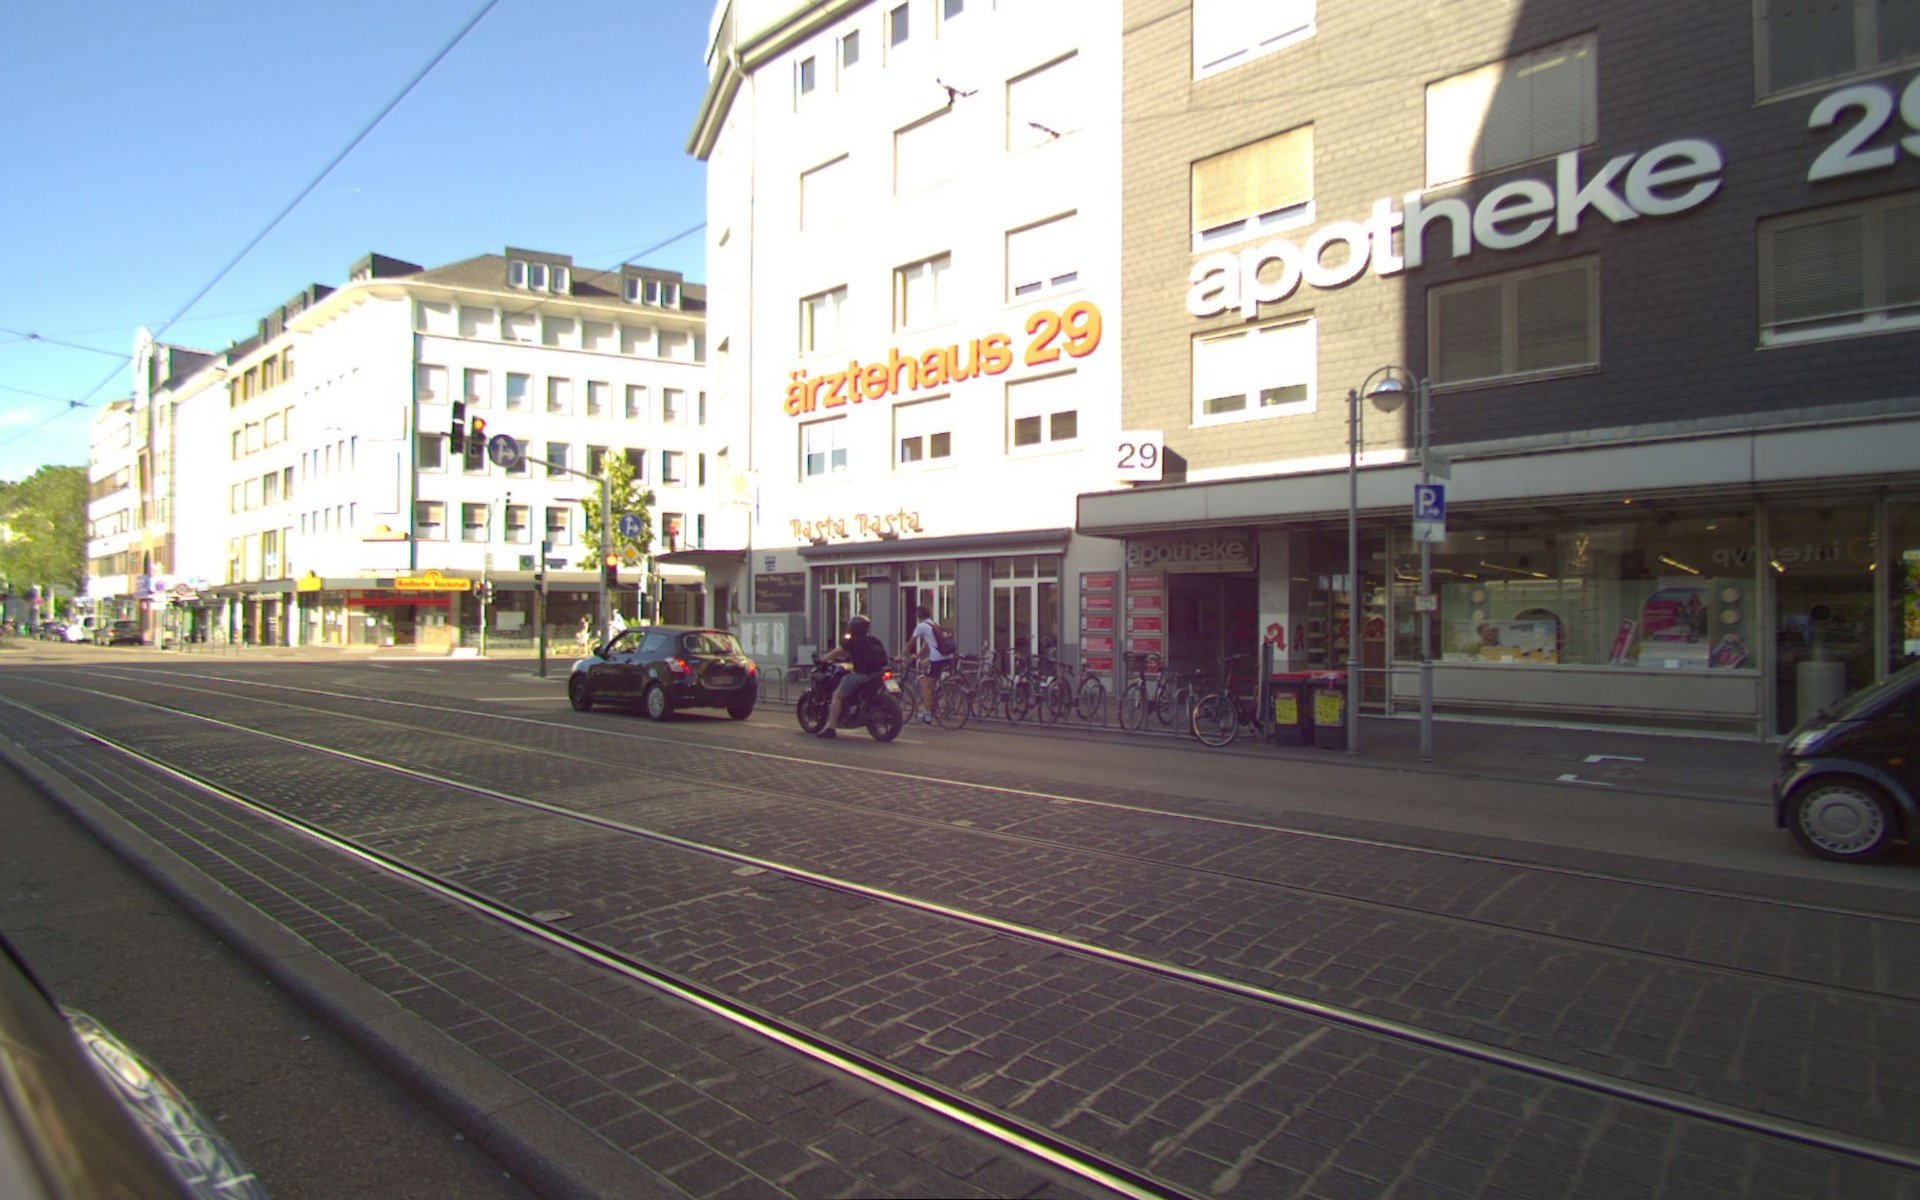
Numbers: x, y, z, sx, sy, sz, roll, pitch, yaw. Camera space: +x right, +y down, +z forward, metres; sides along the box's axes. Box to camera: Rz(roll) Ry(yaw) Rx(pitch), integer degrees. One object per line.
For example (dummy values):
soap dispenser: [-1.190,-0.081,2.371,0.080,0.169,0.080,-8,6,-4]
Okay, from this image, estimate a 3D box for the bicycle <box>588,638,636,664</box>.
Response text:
bicycle: [-14.186,2.090,41.282,1.697,1.015,0.762,1,-5,-36]

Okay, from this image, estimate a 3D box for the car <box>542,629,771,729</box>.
car: [-5.095,1.243,16.718,4.137,1.457,1.695,-2,-4,42]

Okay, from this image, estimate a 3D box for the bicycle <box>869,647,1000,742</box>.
bicycle: [-0.417,1.384,15.280,2.025,1.303,0.742,-1,-2,42]

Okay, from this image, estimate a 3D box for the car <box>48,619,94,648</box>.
car: [-63.348,2.386,72.097,3.998,2.029,1.972,-2,-2,42]

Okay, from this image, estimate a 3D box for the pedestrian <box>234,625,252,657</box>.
pedestrian: [-38.171,2.186,53.888,0.700,1.722,0.562,1,-2,-27]

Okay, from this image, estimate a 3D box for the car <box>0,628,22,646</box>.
car: [-100.292,3.827,105.201,1.999,1.811,3.944,-2,-3,42]

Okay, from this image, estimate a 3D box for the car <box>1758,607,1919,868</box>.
car: [6.851,0.837,6.315,2.829,1.578,1.631,-2,-2,42]

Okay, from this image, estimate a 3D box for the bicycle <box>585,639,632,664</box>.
bicycle: [-14.572,2.130,41.958,1.765,0.975,0.555,1,-2,-36]

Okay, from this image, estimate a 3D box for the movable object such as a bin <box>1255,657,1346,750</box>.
movable object such as a bin: [4.401,1.306,13.051,0.735,1.080,1.088,-2,-1,41]

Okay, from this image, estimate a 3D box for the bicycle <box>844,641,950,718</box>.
bicycle: [-1.110,1.396,18.362,0.772,1.233,2.084,-1,-1,36]

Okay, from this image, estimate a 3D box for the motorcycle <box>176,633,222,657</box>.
motorcycle: [-49.641,2.905,66.014,0.999,1.517,2.226,-2,-2,38]

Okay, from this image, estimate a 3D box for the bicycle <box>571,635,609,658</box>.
bicycle: [-15.608,1.940,42.663,1.432,0.963,0.482,1,-3,-39]

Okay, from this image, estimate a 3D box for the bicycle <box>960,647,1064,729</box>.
bicycle: [0.867,1.385,16.459,0.772,1.201,1.917,-1,-2,36]

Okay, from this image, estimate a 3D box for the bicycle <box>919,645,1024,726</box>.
bicycle: [0.222,1.393,16.985,0.772,1.181,1.917,-1,0,36]

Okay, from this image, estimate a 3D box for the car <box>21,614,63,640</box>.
car: [-71.999,2.114,79.345,3.998,2.029,1.972,-2,-2,42]

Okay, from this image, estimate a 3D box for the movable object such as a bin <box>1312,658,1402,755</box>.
movable object such as a bin: [4.934,1.294,12.558,0.698,1.071,1.088,-2,-1,41]

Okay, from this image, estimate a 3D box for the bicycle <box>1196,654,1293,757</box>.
bicycle: [3.739,1.325,13.206,0.551,1.199,1.916,-1,-2,37]

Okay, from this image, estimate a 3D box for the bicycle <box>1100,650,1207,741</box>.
bicycle: [2.830,1.335,14.622,0.772,1.161,1.917,-1,-1,36]

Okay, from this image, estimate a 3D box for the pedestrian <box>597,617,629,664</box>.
pedestrian: [-14.176,1.669,41.356,0.985,1.881,0.782,1,-4,-39]

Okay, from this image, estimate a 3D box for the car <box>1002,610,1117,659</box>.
car: [3.980,1.366,40.587,4.214,1.866,1.916,0,-1,-25]

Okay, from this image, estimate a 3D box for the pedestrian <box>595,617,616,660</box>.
pedestrian: [-14.674,1.576,41.883,0.550,1.741,0.782,1,-1,-39]

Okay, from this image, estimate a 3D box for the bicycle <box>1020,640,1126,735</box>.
bicycle: [1.776,1.306,15.640,0.772,1.289,1.917,-1,-1,36]

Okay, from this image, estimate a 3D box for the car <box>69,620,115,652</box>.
car: [-58.870,2.425,68.614,4.844,2.029,1.971,-2,-2,45]

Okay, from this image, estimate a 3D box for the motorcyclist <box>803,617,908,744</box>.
motorcyclist: [-1.374,1.020,13.276,1.146,1.570,0.794,-1,-3,42]

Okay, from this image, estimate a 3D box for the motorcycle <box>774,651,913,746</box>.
motorcycle: [-1.570,1.259,13.397,2.116,1.128,0.564,-1,-3,42]

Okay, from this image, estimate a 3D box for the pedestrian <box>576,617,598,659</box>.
pedestrian: [-15.661,1.579,42.458,0.644,1.725,0.794,1,-1,-39]

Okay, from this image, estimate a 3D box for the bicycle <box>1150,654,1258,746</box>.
bicycle: [3.398,1.336,13.977,0.772,1.119,1.917,-1,-2,36]

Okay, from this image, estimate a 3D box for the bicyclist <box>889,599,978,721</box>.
bicyclist: [-0.397,0.875,15.173,1.146,1.742,0.742,-1,-2,42]

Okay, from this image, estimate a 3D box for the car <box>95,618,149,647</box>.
car: [-52.476,2.015,63.362,3.998,1.719,1.972,-2,-2,42]
